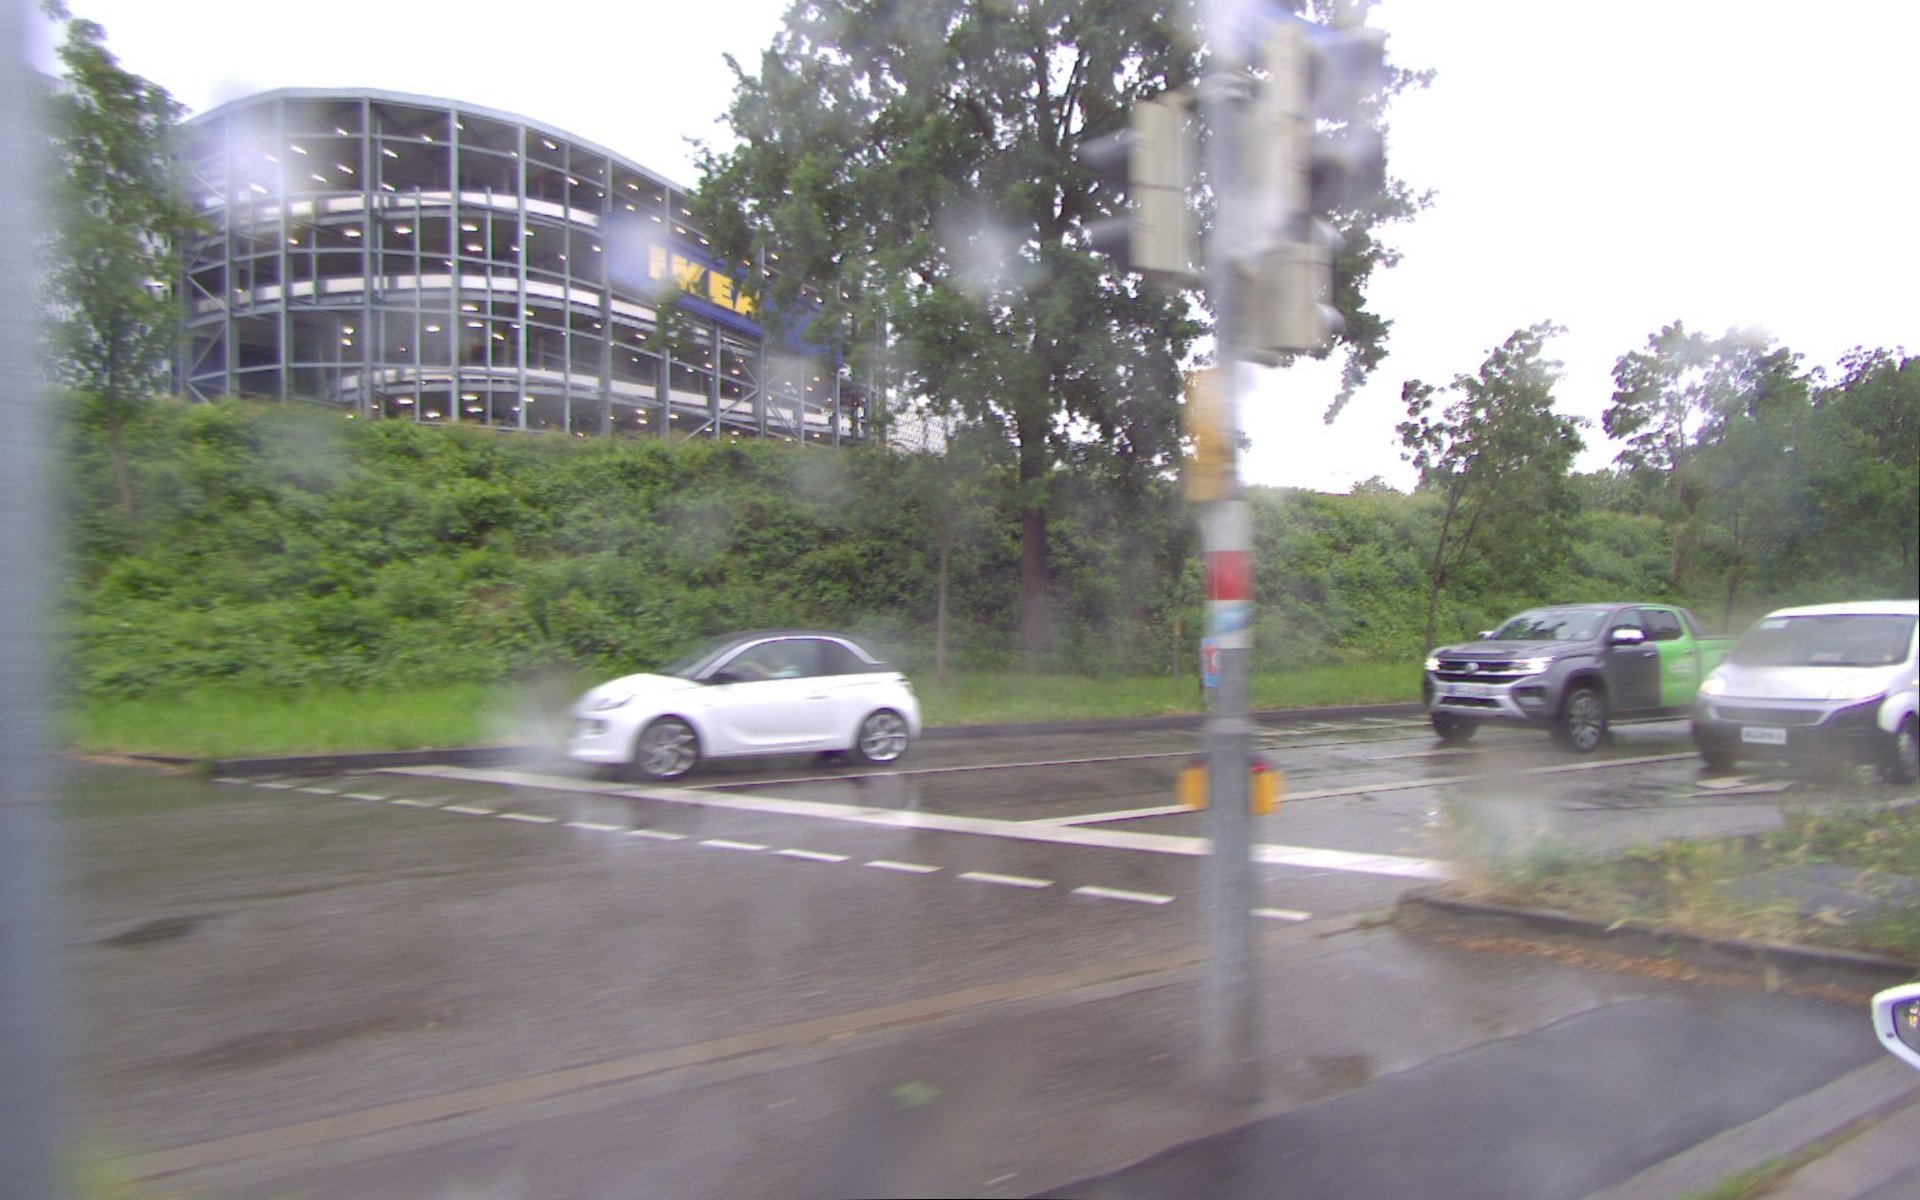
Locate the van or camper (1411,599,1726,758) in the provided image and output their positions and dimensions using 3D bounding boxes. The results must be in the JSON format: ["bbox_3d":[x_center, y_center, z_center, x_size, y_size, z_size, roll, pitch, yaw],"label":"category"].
[{"bbox_3d":[8.021,0.939,13.177,4.169,1.808,1.693,1,-2,-29],"label":"van or camper"}]

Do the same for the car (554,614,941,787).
[{"bbox_3d":[-2.240,0.951,10.744,3.742,1.564,1.664,1,-2,-29],"label":"car"}]

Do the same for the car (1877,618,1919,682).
[{"bbox_3d":[26.322,1.289,26.487,4.352,1.634,1.890,1,-1,-29],"label":"car"}]

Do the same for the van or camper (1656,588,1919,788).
[{"bbox_3d":[9.338,0.831,10.575,3.951,1.764,1.721,1,-3,-29],"label":"van or camper"}]
